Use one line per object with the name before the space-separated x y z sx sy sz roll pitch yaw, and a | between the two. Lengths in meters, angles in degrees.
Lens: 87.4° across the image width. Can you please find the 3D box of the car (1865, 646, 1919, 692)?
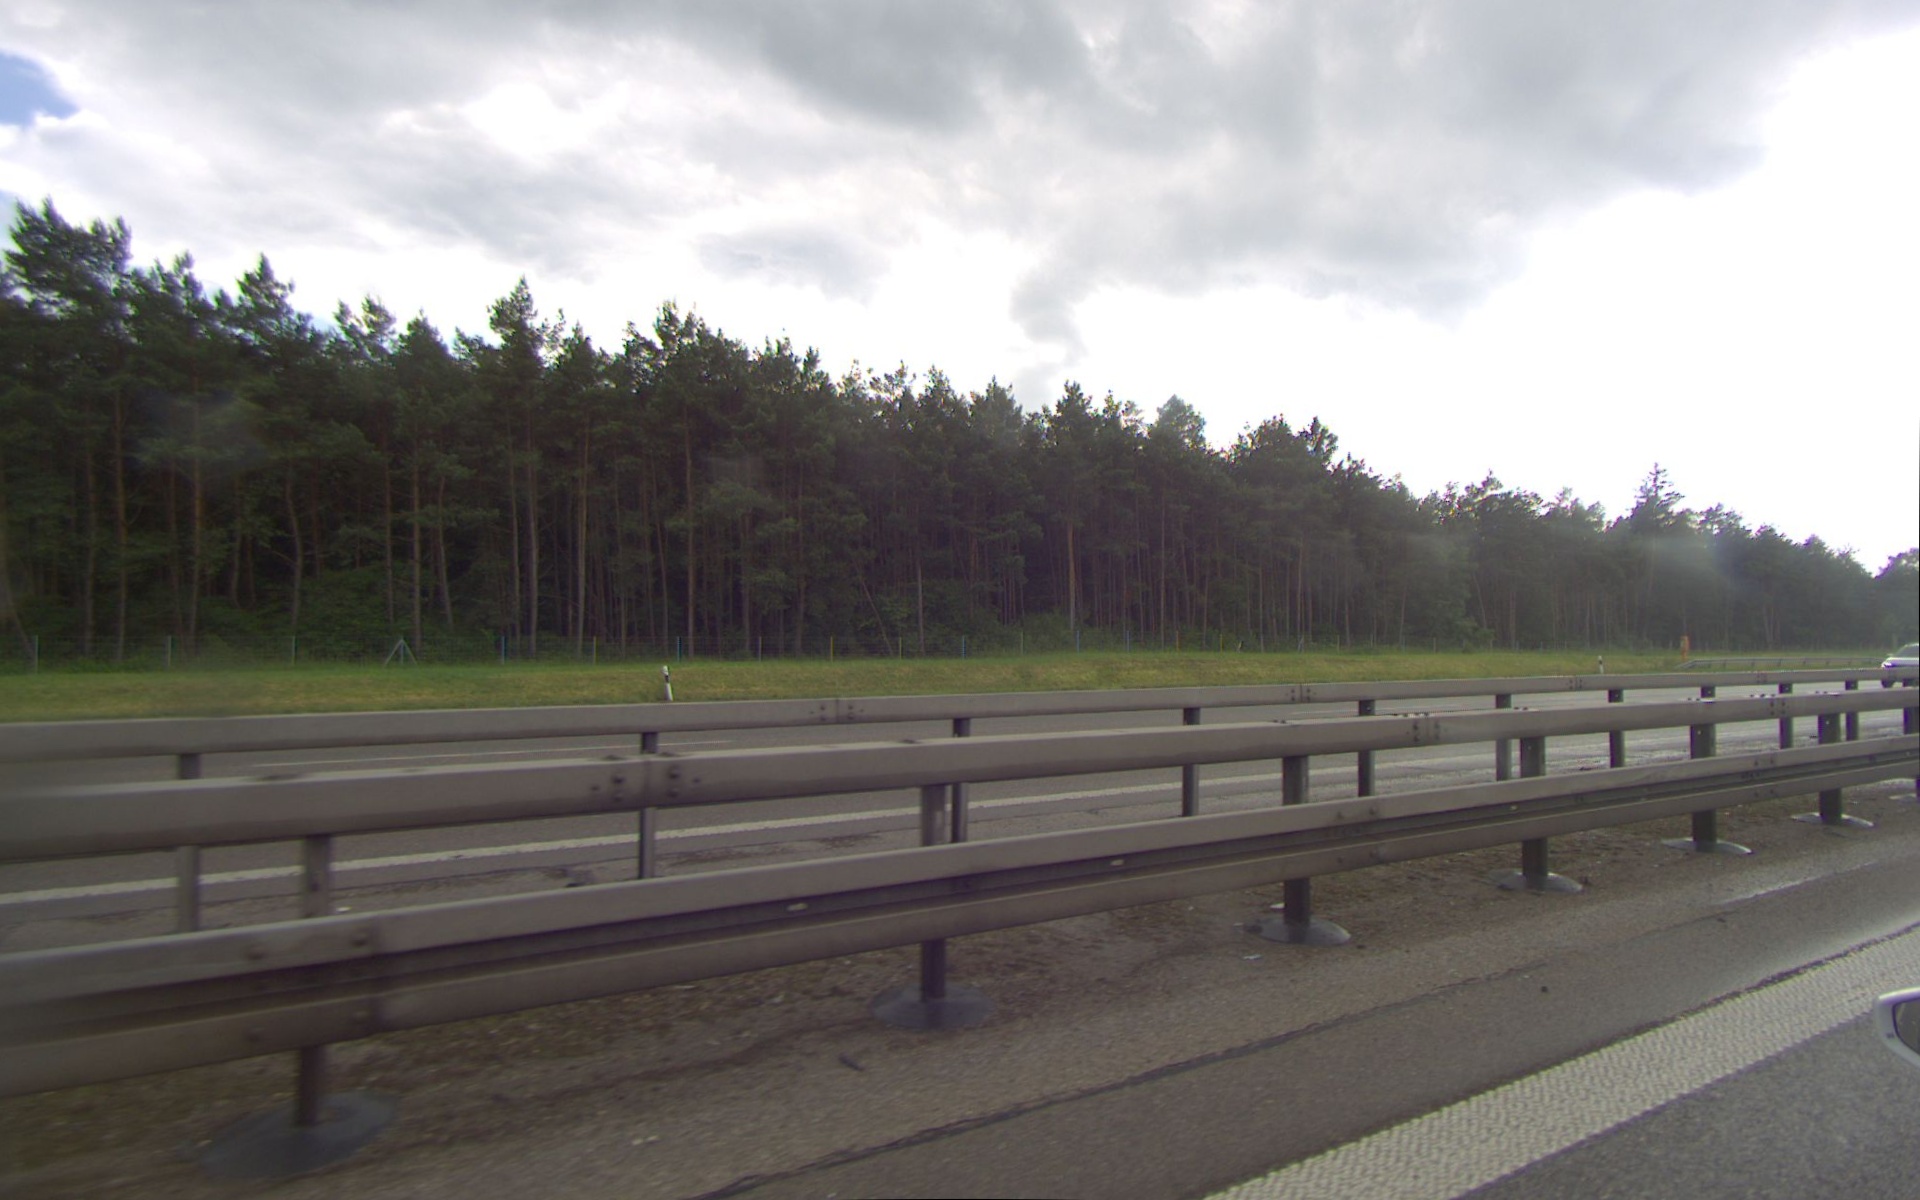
car | 32.935 2.331 34.507 3.955 1.500 1.719 2 -2 -32
